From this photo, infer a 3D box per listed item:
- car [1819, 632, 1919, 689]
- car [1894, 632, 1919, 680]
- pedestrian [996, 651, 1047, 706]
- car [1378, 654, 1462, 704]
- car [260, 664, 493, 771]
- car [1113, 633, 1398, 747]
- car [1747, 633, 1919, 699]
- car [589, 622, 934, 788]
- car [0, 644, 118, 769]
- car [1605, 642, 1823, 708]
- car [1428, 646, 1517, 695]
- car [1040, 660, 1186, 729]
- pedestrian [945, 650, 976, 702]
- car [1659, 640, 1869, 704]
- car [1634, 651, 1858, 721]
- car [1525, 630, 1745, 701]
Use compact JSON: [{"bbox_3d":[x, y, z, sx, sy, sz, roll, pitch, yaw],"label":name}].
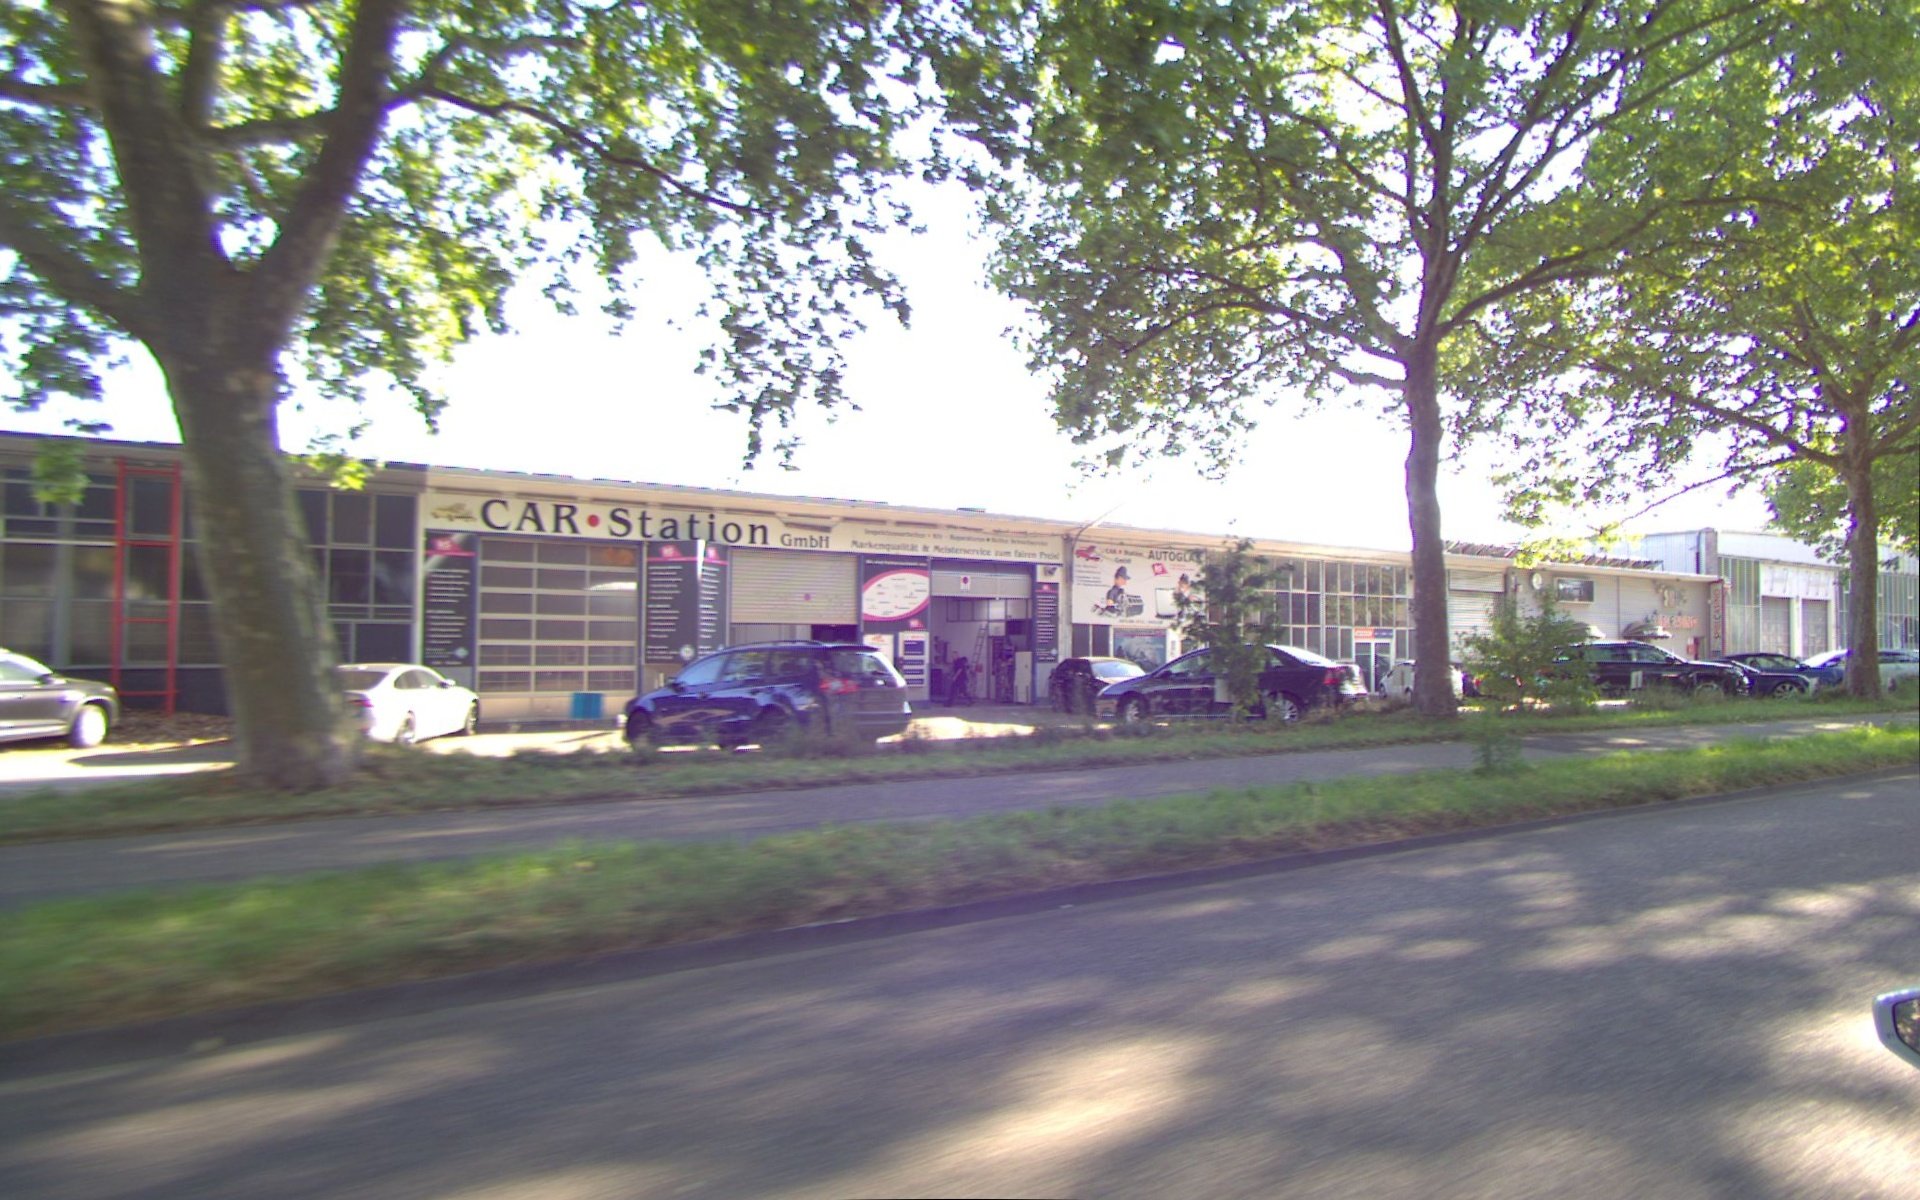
[{"bbox_3d":[29.575,1.899,30.984,4.176,1.651,2.001,2,-1,13],"label":"car"},{"bbox_3d":[37.165,2.120,36.398,4.398,1.753,1.999,2,-1,23],"label":"car"},{"bbox_3d":[1.859,2.365,30.512,1.108,1.581,1.158,2,-1,-23],"label":"pedestrian"},{"bbox_3d":[15.507,2.641,34.040,1.522,1.403,3.300,2,-1,5],"label":"car"},{"bbox_3d":[-10.338,2.024,18.214,1.961,1.461,3.999,2,-1,-2],"label":"car"},{"bbox_3d":[5.051,1.444,17.398,4.280,1.550,1.993,2,-1,37],"label":"car"},{"bbox_3d":[26.170,1.925,29.624,4.176,1.721,2.001,2,-1,14],"label":"car"},{"bbox_3d":[-2.886,1.295,14.038,4.821,1.783,1.993,2,-1,37],"label":"car"},{"bbox_3d":[-15.219,1.617,14.992,1.961,1.728,3.999,2,-1,-2],"label":"car"},{"bbox_3d":[19.747,1.928,26.557,4.180,1.400,1.999,2,-1,22],"label":"car"},{"bbox_3d":[17.448,2.360,34.342,1.674,1.425,3.300,2,-1,8],"label":"car"},{"bbox_3d":[3.916,2.433,26.566,1.969,1.339,4.455,2,0,-19],"label":"car"},{"bbox_3d":[0.003,2.239,29.727,0.675,1.491,0.691,2,0,-22],"label":"pedestrian"},{"bbox_3d":[22.537,1.973,28.365,4.180,1.471,1.999,2,-1,22],"label":"car"},{"bbox_3d":[20.336,2.180,26.239,4.180,1.471,1.999,2,-1,22],"label":"car"},{"bbox_3d":[16.619,1.566,25.019,4.180,1.471,1.999,2,-1,22],"label":"car"}]
